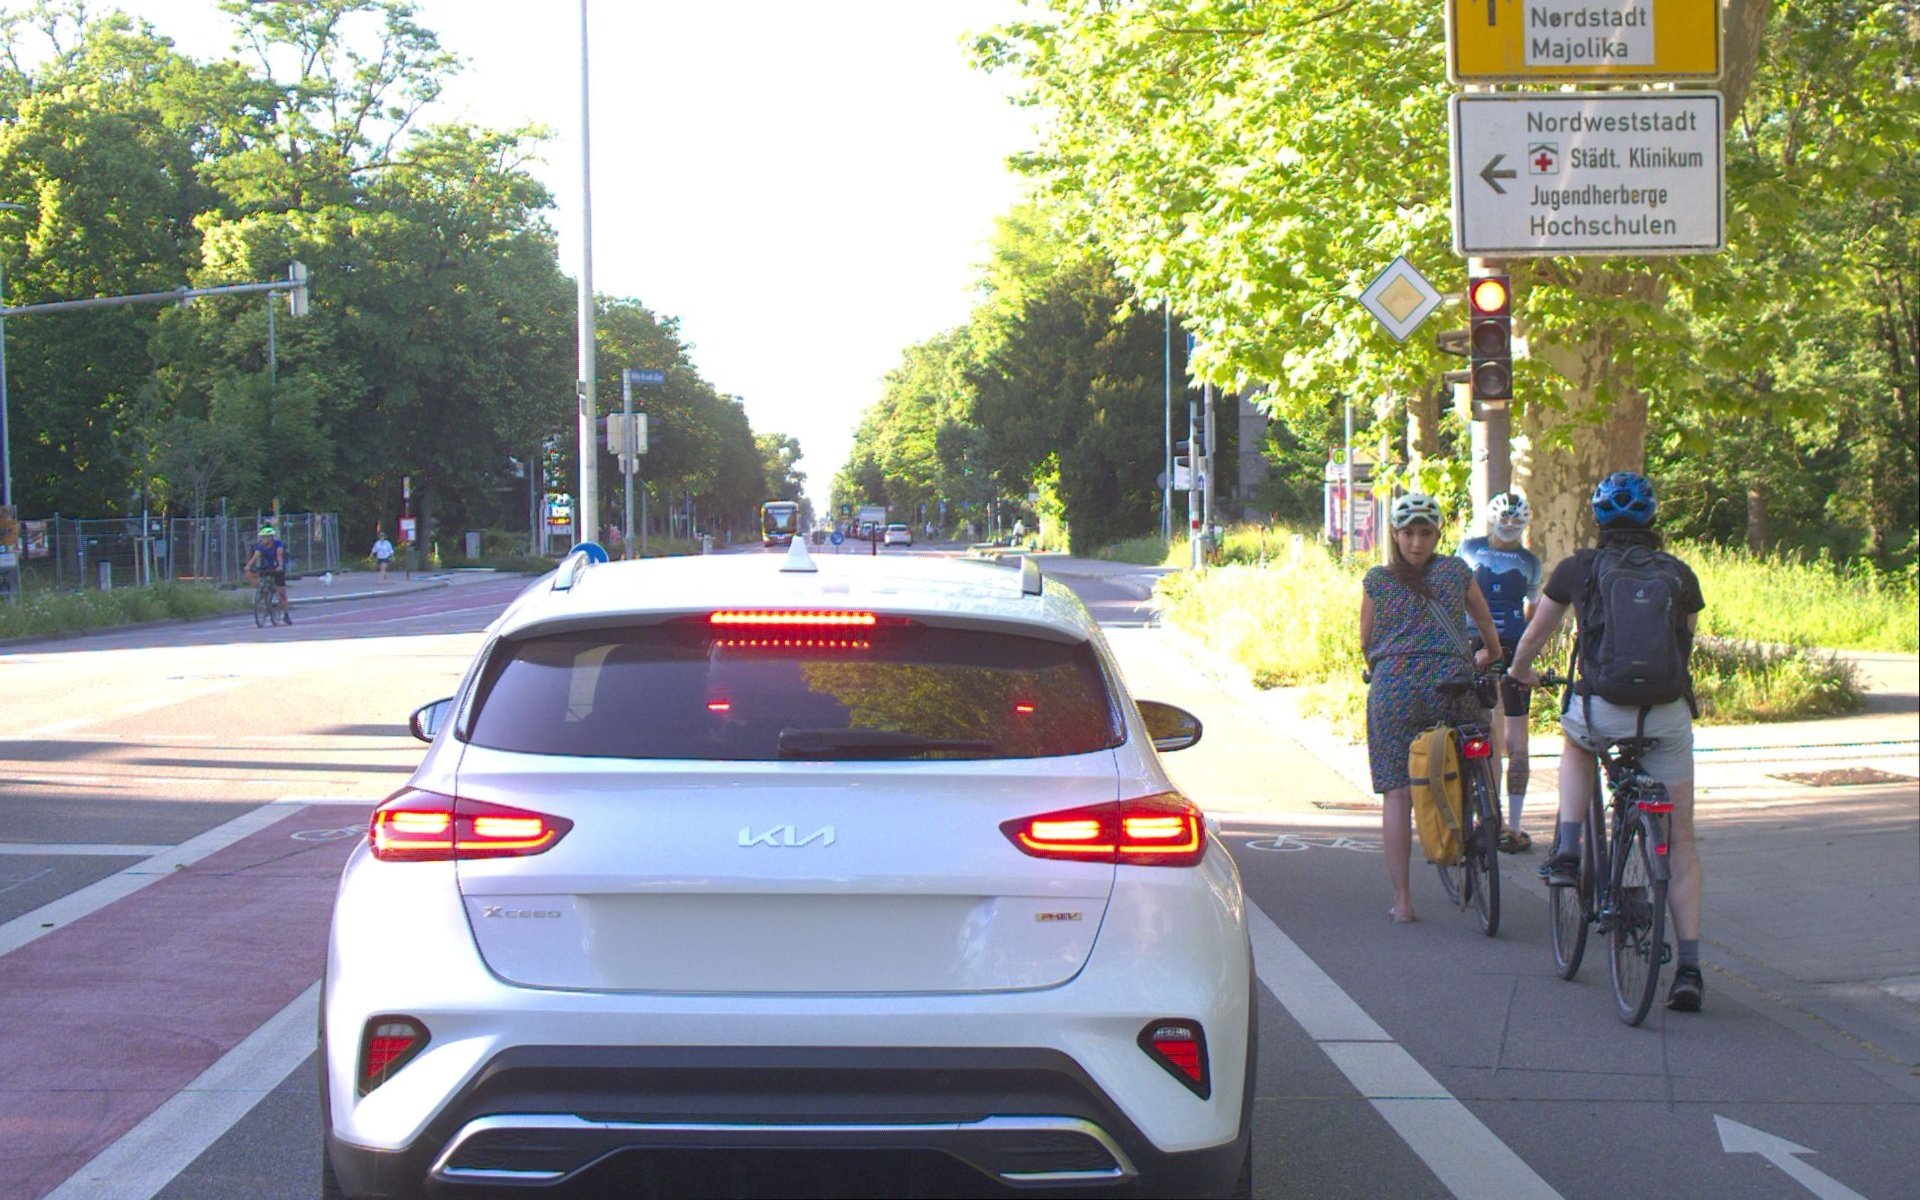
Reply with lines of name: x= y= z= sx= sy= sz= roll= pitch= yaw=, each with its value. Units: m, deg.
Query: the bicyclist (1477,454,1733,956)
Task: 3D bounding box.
bicyclist: x=2.114 y=0.329 z=11.339 sx=0.665 sy=1.596 sz=0.721 roll=1 pitch=1 yaw=-2

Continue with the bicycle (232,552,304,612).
bicycle: x=-12.205 y=-0.326 z=60.704 sx=0.663 sy=0.985 sz=2.504 roll=-1 pitch=1 yaw=2

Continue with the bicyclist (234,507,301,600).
bicyclist: x=-12.219 y=-0.825 z=60.690 sx=0.875 sy=1.603 sz=1.188 roll=-1 pitch=1 yaw=1

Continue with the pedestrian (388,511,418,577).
pedestrian: x=-17.050 y=-1.716 z=105.213 sx=0.642 sy=2.007 sz=0.753 roll=0 pitch=1 yaw=15

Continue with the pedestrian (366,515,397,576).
pedestrian: x=-17.024 y=-1.593 z=101.157 sx=0.785 sy=1.779 sz=0.751 roll=0 pitch=1 yaw=0

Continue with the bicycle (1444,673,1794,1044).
bicycle: x=2.112 y=0.793 z=11.288 sx=0.668 sy=1.006 sz=2.081 roll=1 pitch=1 yaw=-2

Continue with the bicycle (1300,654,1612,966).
bicycle: x=1.912 y=0.776 z=13.657 sx=0.758 sy=1.009 sz=2.570 roll=1 pitch=1 yaw=-2

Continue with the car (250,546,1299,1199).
car: x=-0.386 y=0.631 z=7.960 sx=1.821 sy=1.475 sz=3.937 roll=0 pitch=1 yaw=-2

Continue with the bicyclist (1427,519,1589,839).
bicyclist: x=2.626 y=0.366 z=16.519 sx=0.554 sy=1.473 sz=0.717 roll=-4 pitch=1 yaw=-2

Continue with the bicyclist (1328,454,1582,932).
bicyclist: x=1.925 y=0.338 z=13.524 sx=0.753 sy=1.789 sz=1.165 roll=1 pitch=1 yaw=-2

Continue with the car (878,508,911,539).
car: x=-4.510 y=-5.279 z=237.176 sx=1.993 sy=2.007 sz=4.001 roll=-2 pitch=1 yaw=-5

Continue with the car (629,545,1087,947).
car: x=-0.457 y=0.533 z=14.985 sx=1.728 sy=1.478 sz=3.517 roll=-1 pitch=1 yaw=-2

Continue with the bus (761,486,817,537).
bus: x=-12.920 y=-6.639 z=259.052 sx=3.741 sy=3.660 sz=13.243 roll=-1 pitch=1 yaw=-4

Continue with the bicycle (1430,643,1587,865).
bicycle: x=2.624 y=0.716 z=16.550 sx=0.401 sy=0.953 sz=1.551 roll=-4 pitch=1 yaw=-2
